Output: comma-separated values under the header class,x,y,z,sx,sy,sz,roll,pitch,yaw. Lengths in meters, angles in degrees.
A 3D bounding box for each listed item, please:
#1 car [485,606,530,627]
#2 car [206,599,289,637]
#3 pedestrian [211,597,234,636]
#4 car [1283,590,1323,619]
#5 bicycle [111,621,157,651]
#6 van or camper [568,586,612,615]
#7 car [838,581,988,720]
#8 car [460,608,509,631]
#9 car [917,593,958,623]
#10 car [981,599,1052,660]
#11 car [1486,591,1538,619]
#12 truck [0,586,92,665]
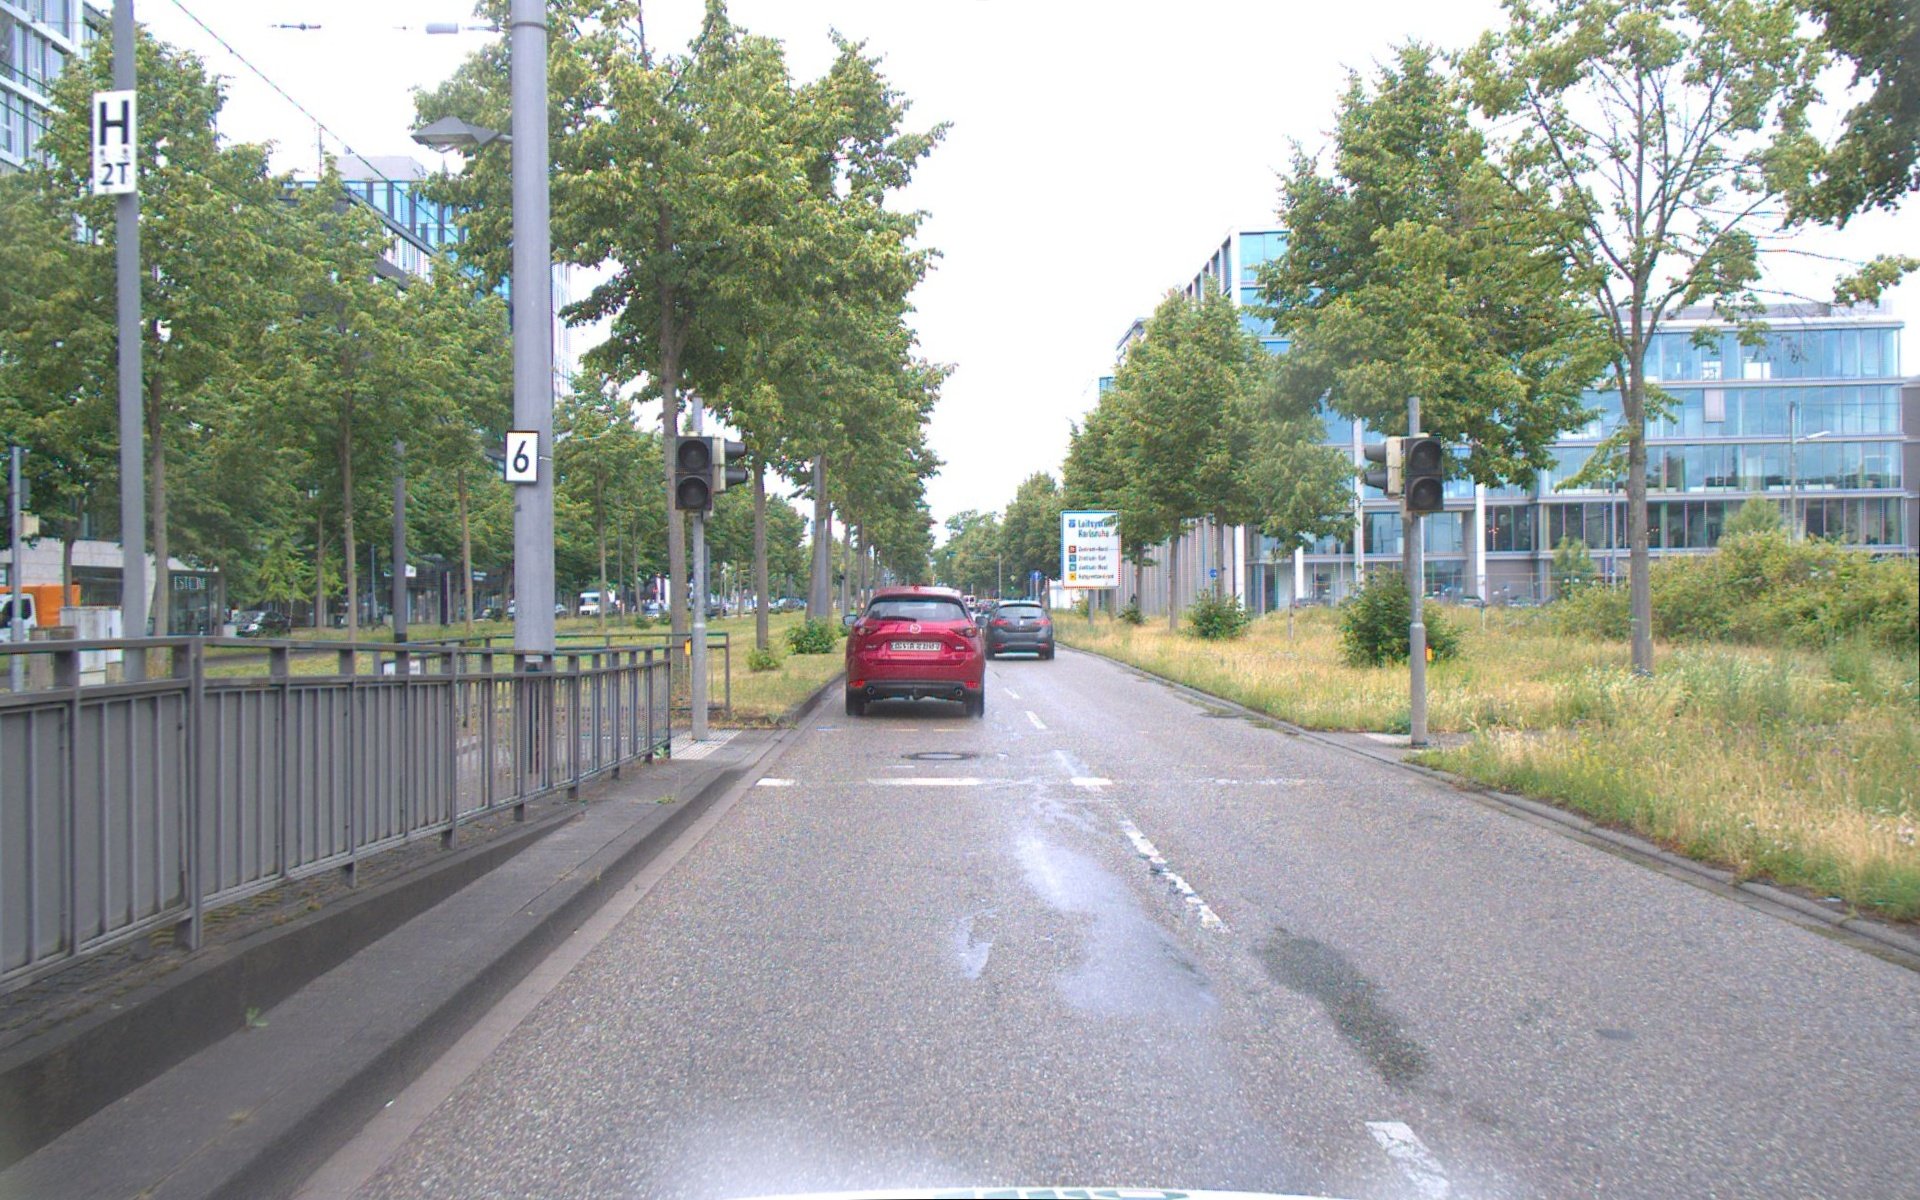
class,x,y,z,sx,sy,sz,roll,pitch,yaw
car,-30.313,1.097,110.913,1.953,1.402,3.999,0,0,-1
car,-29.457,0.731,68.495,1.817,1.491,3.987,-1,0,-2
pedestrian,-39.126,0.864,87.723,0.777,2.016,0.856,0,0,7
car,19.378,0.255,93.507,1.815,1.608,4.003,0,0,6
bicycle,-27.315,1.177,54.717,0.586,0.962,1.757,-1,0,2
van or camper,-30.710,0.009,137.371,2.384,2.356,5.848,0,0,-1
car,-0.642,0.625,22.539,1.860,1.706,3.999,0,0,-2
car,-29.914,1.211,104.144,1.953,1.402,3.999,0,0,-1
car,-1.173,0.417,84.724,1.928,1.462,4.550,1,0,-3
car,1.415,0.718,42.198,1.707,1.490,3.782,0,0,1
car,30.710,0.259,92.063,1.748,1.500,4.232,0,0,4
truck,-29.534,0.763,50.921,2.377,2.332,6.307,-1,0,-1
